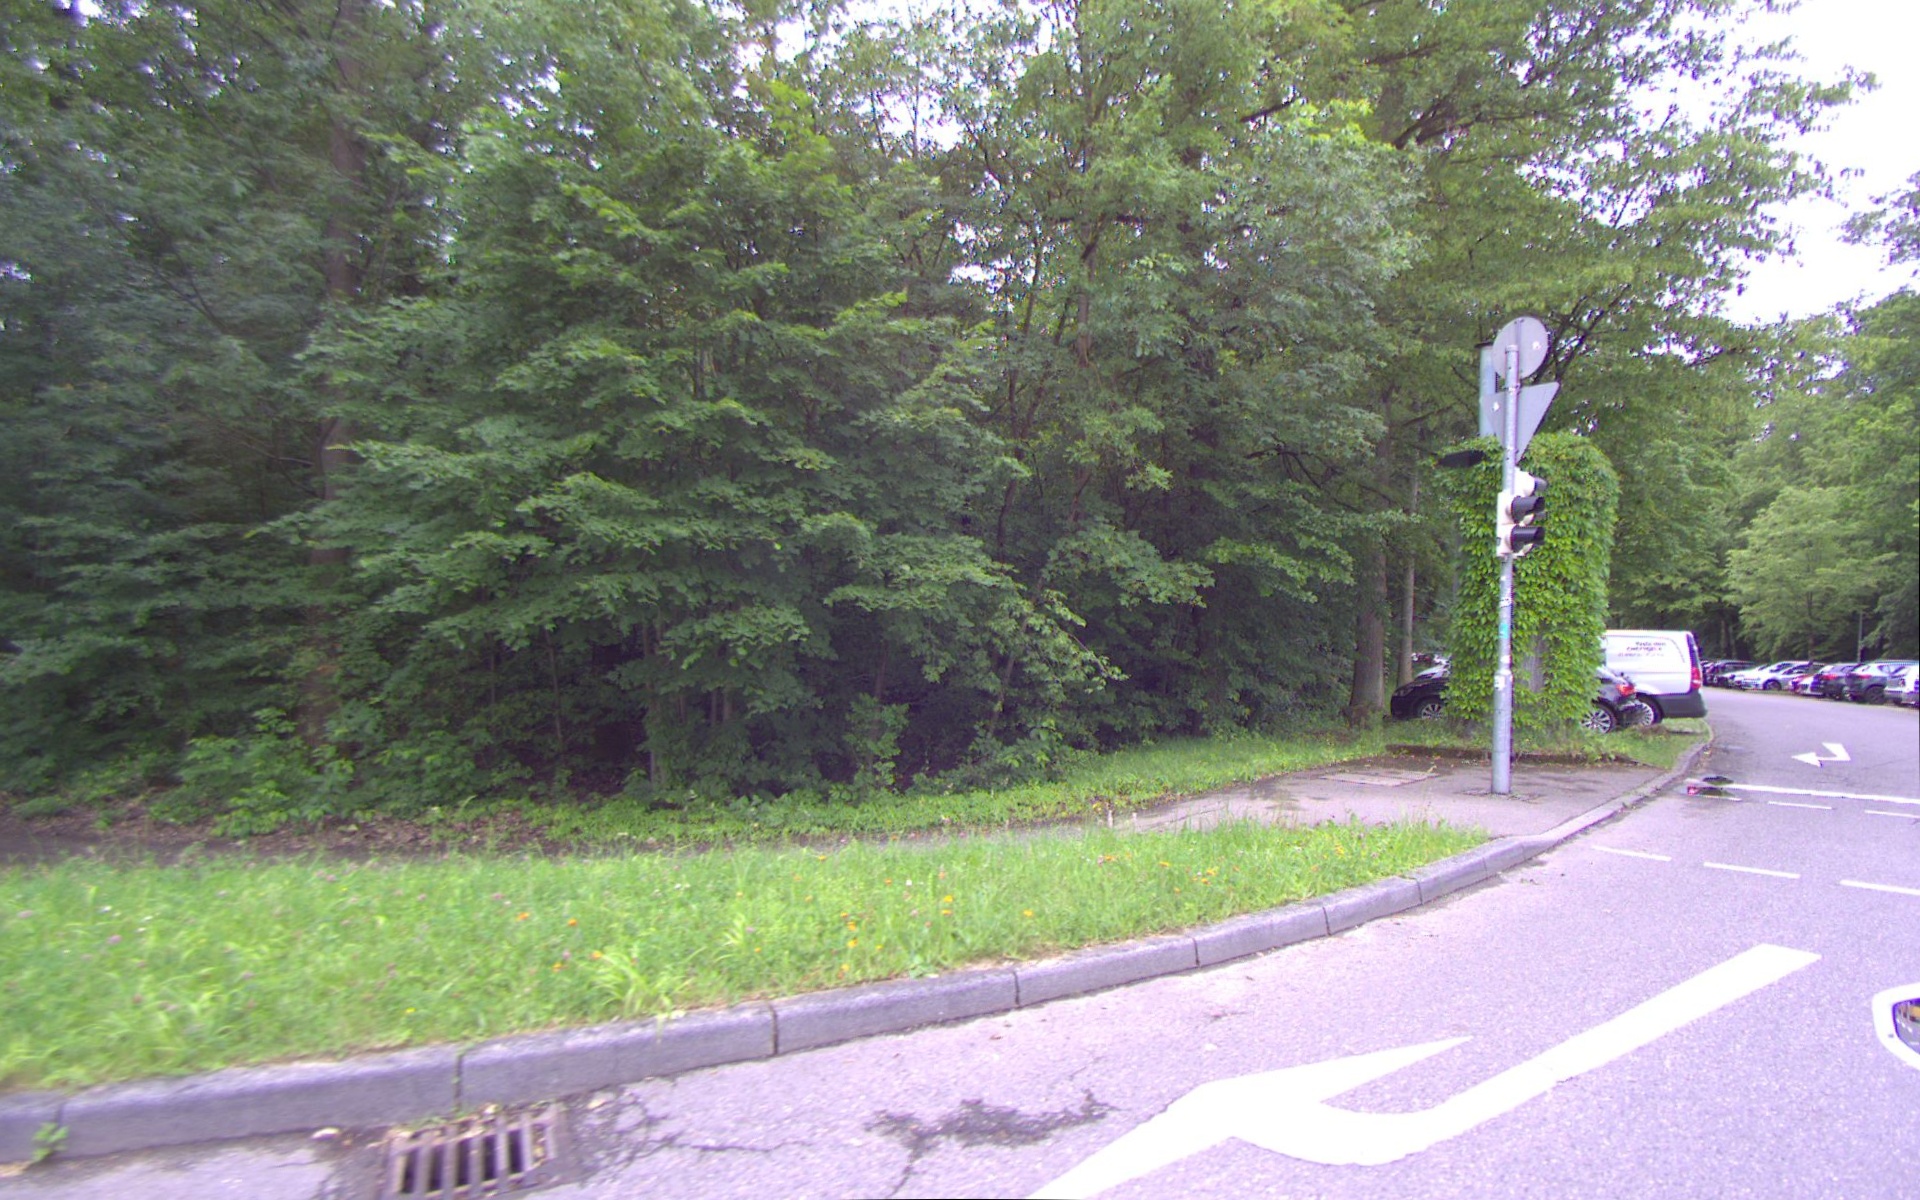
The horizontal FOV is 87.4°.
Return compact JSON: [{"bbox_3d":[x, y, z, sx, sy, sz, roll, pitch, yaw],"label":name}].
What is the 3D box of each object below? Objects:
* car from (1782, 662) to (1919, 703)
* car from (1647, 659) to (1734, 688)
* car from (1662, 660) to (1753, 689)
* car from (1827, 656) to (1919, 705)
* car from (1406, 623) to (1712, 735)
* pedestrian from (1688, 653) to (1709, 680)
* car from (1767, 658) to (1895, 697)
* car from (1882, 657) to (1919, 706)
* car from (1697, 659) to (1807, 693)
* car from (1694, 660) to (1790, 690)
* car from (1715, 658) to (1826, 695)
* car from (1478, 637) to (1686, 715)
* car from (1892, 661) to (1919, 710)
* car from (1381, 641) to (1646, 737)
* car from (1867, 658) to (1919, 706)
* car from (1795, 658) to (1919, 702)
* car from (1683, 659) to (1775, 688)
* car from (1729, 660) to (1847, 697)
[{"bbox_3d":[36.330,3.334,41.055,3.871,1.429,1.877,1,-2,26],"label":"car"},{"bbox_3d":[44.970,4.487,61.922,3.919,1.572,1.977,1,-2,15],"label":"car"},{"bbox_3d":[44.306,4.394,59.614,3.922,1.494,1.952,1,-2,22],"label":"car"},{"bbox_3d":[33.888,2.906,36.138,3.711,1.610,1.947,1,-2,28],"label":"car"},{"bbox_3d":[11.746,1.465,19.891,5.022,1.940,1.971,-1,-3,38],"label":"car"},{"bbox_3d":[49.625,4.468,67.489,0.804,1.748,1.004,2,-2,18],"label":"pedestrian"},{"bbox_3d":[37.646,3.321,43.496,3.730,1.460,1.871,1,-2,17],"label":"car"},{"bbox_3d":[32.010,2.664,31.916,3.647,1.530,1.749,0,-3,29],"label":"car"},{"bbox_3d":[41.403,3.971,52.591,4.118,1.531,1.893,1,-2,21],"label":"car"},{"bbox_3d":[42.681,4.089,54.928,3.765,1.476,1.808,0,-3,23],"label":"car"},{"bbox_3d":[40.458,3.794,50.246,3.946,1.579,1.976,1,-2,25],"label":"car"},{"bbox_3d":[15.919,1.888,25.827,4.366,1.717,2.164,1,-2,35],"label":"car"},{"bbox_3d":[30.741,2.619,29.902,4.067,1.480,1.862,0,-3,31],"label":"car"},{"bbox_3d":[9.766,1.501,17.840,3.936,1.397,1.716,0,-2,37],"label":"car"},{"bbox_3d":[33.207,2.800,33.691,3.784,1.566,1.729,1,-3,27],"label":"car"},{"bbox_3d":[34.833,3.065,38.699,3.708,1.500,1.773,1,-2,24],"label":"car"},{"bbox_3d":[43.568,4.138,56.985,3.765,1.551,1.851,0,-3,21],"label":"car"},{"bbox_3d":[39.421,3.729,47.931,3.911,1.503,1.884,1,-2,21],"label":"car"}]
